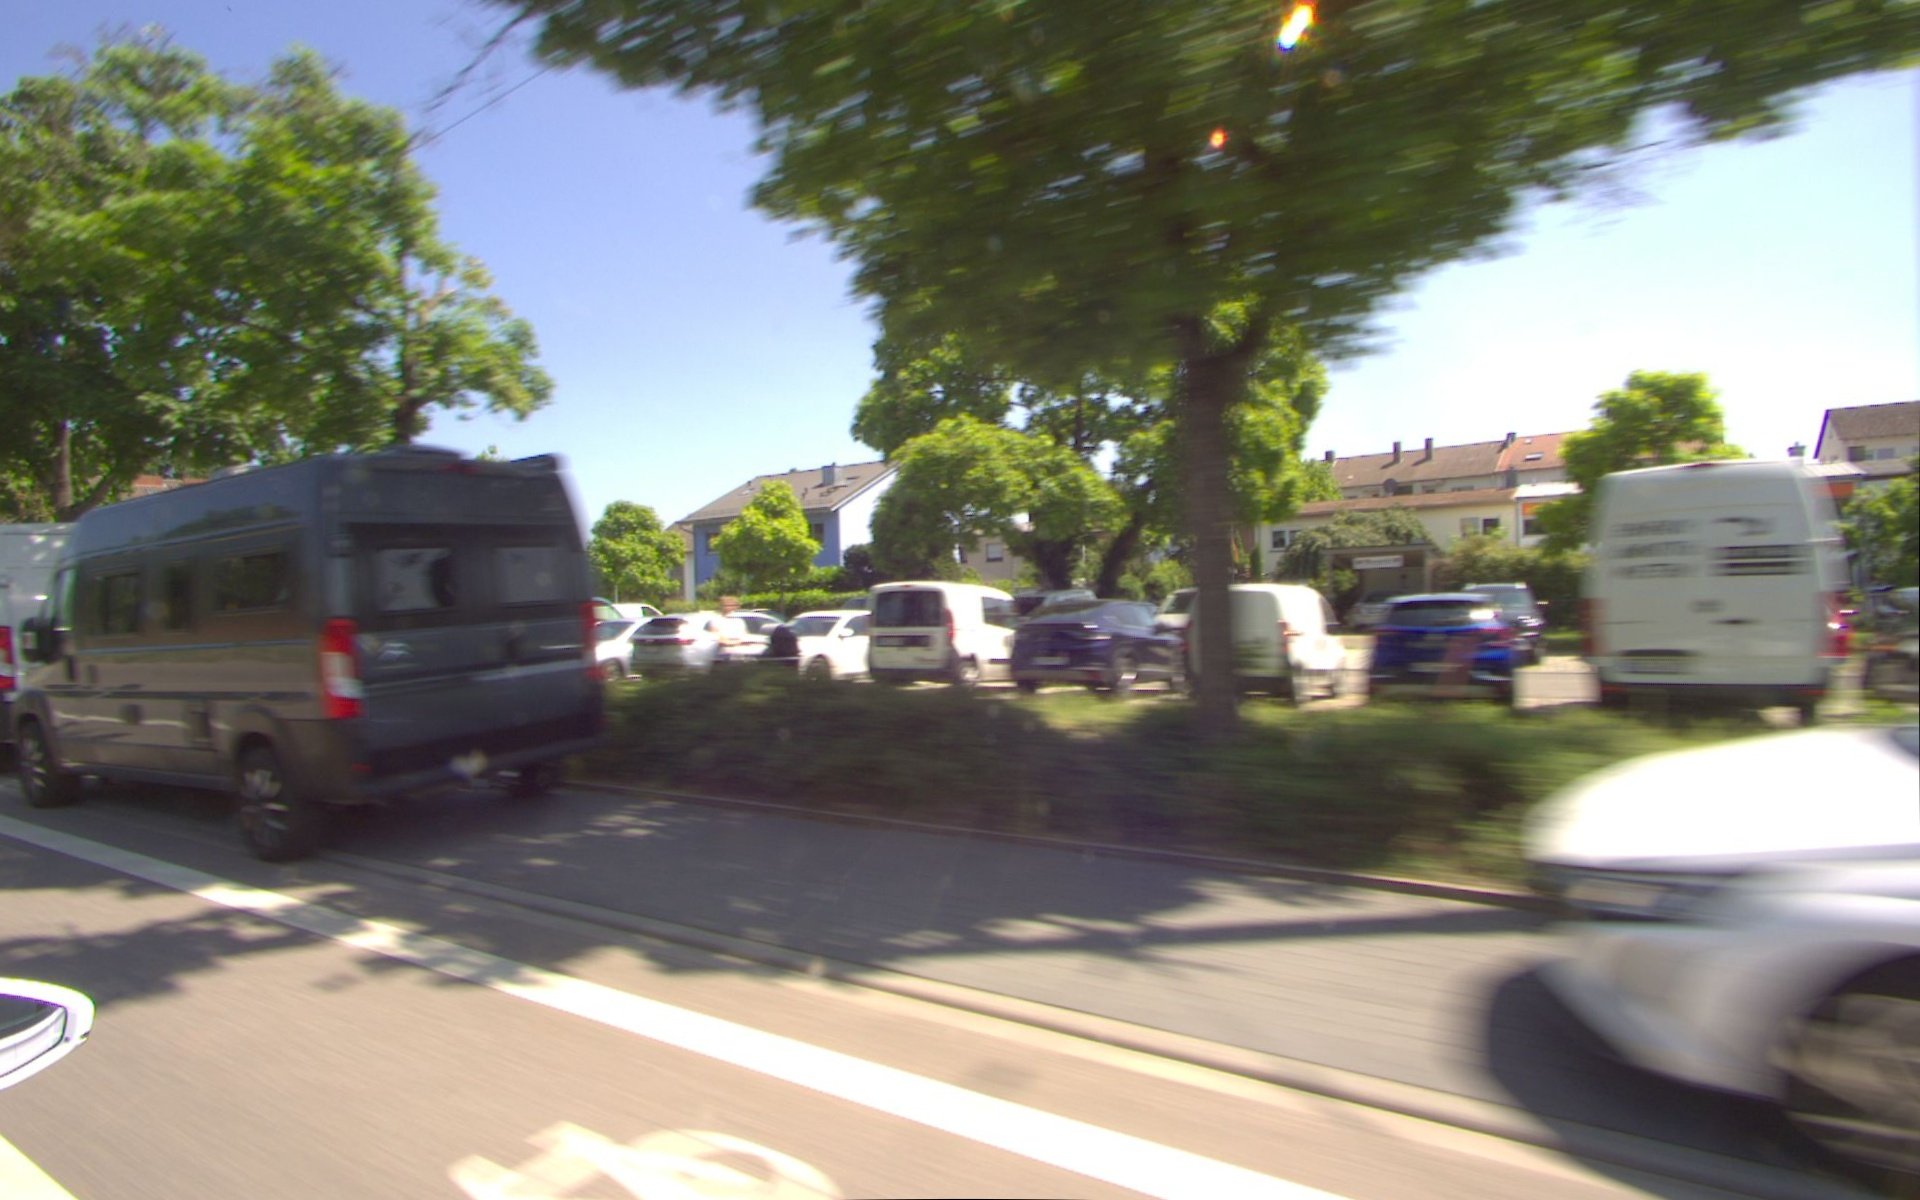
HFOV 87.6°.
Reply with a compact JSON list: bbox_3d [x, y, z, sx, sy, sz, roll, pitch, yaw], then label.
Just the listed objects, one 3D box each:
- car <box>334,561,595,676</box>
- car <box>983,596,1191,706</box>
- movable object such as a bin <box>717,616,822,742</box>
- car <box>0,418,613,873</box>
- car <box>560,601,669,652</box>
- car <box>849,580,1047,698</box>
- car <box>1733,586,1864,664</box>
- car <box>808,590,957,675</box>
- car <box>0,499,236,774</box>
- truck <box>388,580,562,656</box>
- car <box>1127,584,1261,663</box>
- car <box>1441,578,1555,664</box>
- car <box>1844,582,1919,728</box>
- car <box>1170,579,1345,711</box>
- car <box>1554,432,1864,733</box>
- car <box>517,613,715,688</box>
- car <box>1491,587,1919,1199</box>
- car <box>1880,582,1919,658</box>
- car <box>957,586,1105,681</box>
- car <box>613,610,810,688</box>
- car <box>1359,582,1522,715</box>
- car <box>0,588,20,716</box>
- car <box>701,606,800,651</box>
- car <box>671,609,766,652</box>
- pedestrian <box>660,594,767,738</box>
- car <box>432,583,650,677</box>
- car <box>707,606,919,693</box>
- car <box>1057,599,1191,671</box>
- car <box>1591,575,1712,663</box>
[{"bbox_3d":[-11.955,0.515,24.618,2.065,2.490,5.481,-1,-2,32],"label":"car"},{"bbox_3d":[2.223,0.804,16.320,1.924,1.524,4.404,-1,-2,28],"label":"car"},{"bbox_3d":[-2.194,0.883,11.578,0.876,1.370,0.791,-1,0,32],"label":"movable object such as a bin"},{"bbox_3d":[-5.748,0.289,8.290,5.991,2.673,1.993,-1,2,32],"label":"car"},{"bbox_3d":[-13.836,1.024,40.318,1.727,1.832,3.993,-1,1,28],"label":"car"},{"bbox_3d":[-0.089,0.677,17.439,1.924,1.806,3.779,-1,-2,27],"label":"car"},{"bbox_3d":[18.169,0.485,21.877,1.609,1.456,4.300,-1,1,32],"label":"car"},{"bbox_3d":[-2.477,0.997,33.648,2.065,2.493,5.476,-1,1,32],"label":"car"},{"bbox_3d":[-11.413,0.371,12.129,6.054,2.673,1.993,-1,2,32],"label":"car"},{"bbox_3d":[-22.165,0.725,46.192,2.389,3.127,6.933,-1,1,31],"label":"truck"},{"bbox_3d":[6.589,0.582,27.723,2.065,1.901,5.084,-1,1,32],"label":"car"},{"bbox_3d":[13.071,0.426,24.139,2.065,1.776,5.141,-1,1,32],"label":"car"},{"bbox_3d":[10.901,0.574,10.435,1.702,1.490,3.884,-1,-2,29],"label":"car"},{"bbox_3d":[4.554,0.667,15.024,1.703,1.739,3.367,-1,-2,32],"label":"car"},{"bbox_3d":[8.516,-0.019,11.766,2.233,2.561,6.326,-1,-2,34],"label":"car"},{"bbox_3d":[-7.159,1.044,21.215,1.701,1.423,3.886,-1,-2,27],"label":"car"},{"bbox_3d":[3.739,0.693,2.507,4.149,1.447,1.718,-1,2,32],"label":"car"},{"bbox_3d":[20.374,0.392,20.411,1.609,1.456,4.300,-1,1,32],"label":"car"},{"bbox_3d":[2.280,0.907,30.154,2.065,2.493,5.476,-1,1,32],"label":"car"},{"bbox_3d":[-4.925,0.983,20.353,1.702,1.423,3.884,-1,-2,29],"label":"car"},{"bbox_3d":[6.513,0.628,13.384,1.702,1.490,3.884,-1,-2,29],"label":"car"},{"bbox_3d":[-16.956,0.858,15.716,5.202,1.904,1.991,-1,2,34],"label":"car"},{"bbox_3d":[-7.646,1.022,36.758,1.659,1.448,3.325,-1,1,33],"label":"car"},{"bbox_3d":[-9.260,1.133,38.590,1.659,1.448,3.325,-1,1,33],"label":"car"},{"bbox_3d":[-2.963,0.766,12.061,0.929,1.646,0.803,-1,0,32],"label":"pedestrian"},{"bbox_3d":[-9.439,0.719,22.961,1.924,1.933,4.406,-1,-2,27],"label":"car"},{"bbox_3d":[-2.600,0.904,18.756,1.702,1.423,4.273,-1,-2,29],"label":"car"},{"bbox_3d":[4.917,0.945,29.337,2.065,1.776,5.084,-1,1,32],"label":"car"},{"bbox_3d":[15.965,0.361,23.357,2.065,1.776,5.141,-1,1,32],"label":"car"}]
